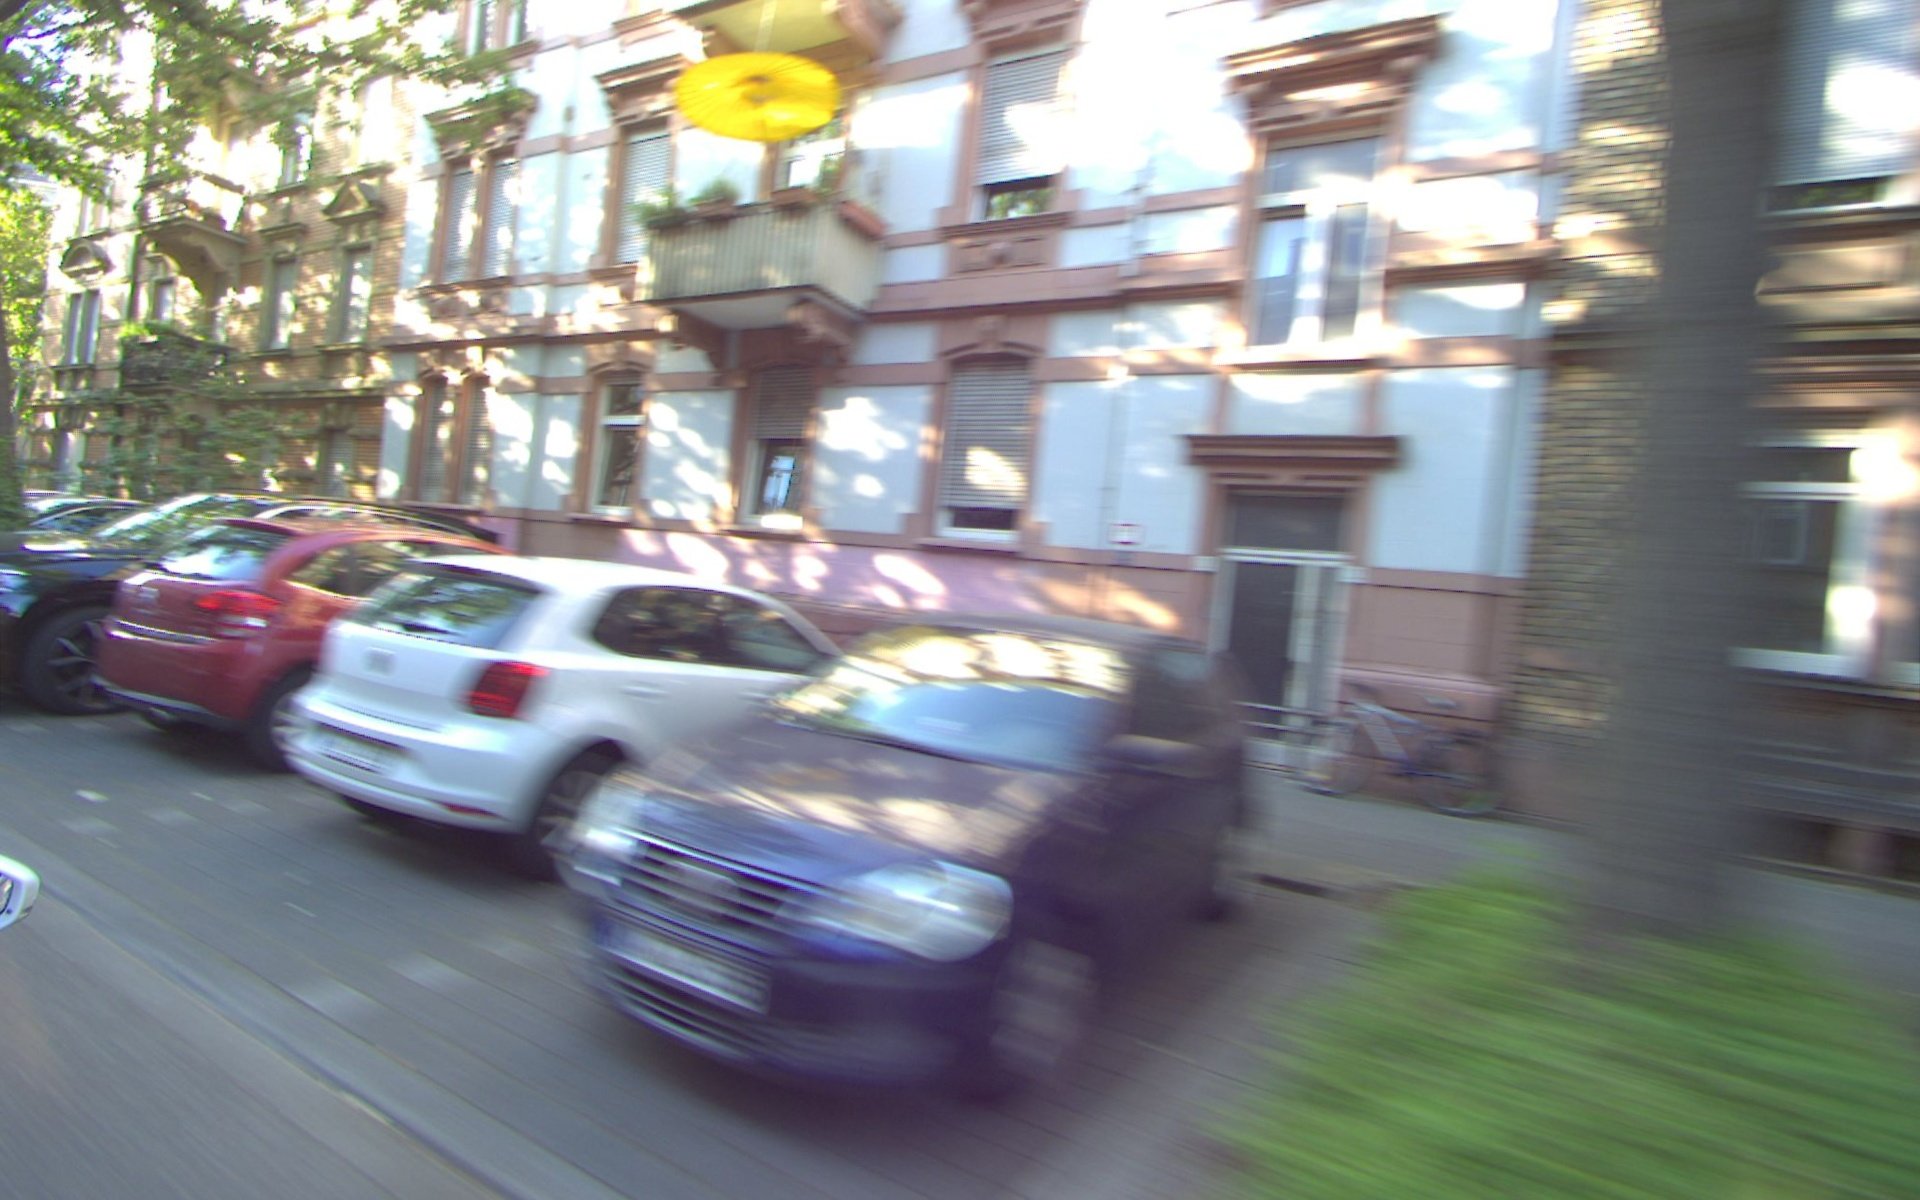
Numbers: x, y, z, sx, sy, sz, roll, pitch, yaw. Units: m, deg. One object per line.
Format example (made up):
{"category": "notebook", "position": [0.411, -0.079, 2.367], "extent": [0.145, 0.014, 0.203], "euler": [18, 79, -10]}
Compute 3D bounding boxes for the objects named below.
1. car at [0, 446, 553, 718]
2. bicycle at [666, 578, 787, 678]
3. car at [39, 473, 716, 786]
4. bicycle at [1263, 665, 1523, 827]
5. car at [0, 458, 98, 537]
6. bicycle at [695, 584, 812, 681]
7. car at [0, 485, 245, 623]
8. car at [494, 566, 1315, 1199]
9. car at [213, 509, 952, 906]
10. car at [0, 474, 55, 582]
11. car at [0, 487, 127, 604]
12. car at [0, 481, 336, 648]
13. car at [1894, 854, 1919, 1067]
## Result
{"category": "car", "position": [-6.032, -0.127, 8.451], "extent": [1.849, 1.724, 4.651], "euler": [7, 1, 27]}
{"category": "bicycle", "position": [-2.986, 0.341, 12.788], "extent": [1.677, 1.064, 0.365], "euler": [7, 1, 35]}
{"category": "car", "position": [-3.940, 0.238, 7.586], "extent": [1.751, 1.609, 3.995], "euler": [7, 0, 28]}
{"category": "bicycle", "position": [3.696, 1.216, 8.695], "extent": [1.914, 1.059, 0.405], "euler": [7, 1, 26]}
{"category": "car", "position": [-37.110, -4.148, 38.307], "extent": [2.337, 2.567, 5.911], "euler": [7, -1, 25]}
{"category": "bicycle", "position": [-2.704, 0.402, 13.071], "extent": [1.677, 1.064, 0.324], "euler": [7, 1, 35]}
{"category": "car", "position": [-11.991, -0.669, 12.519], "extent": [1.897, 1.521, 4.674], "euler": [7, -1, 22]}
{"category": "car", "position": [0.270, 0.727, 4.503], "extent": [1.649, 1.406, 3.989], "euler": [7, 2, 30]}
{"category": "car", "position": [-1.825, 0.522, 6.180], "extent": [1.751, 1.480, 3.995], "euler": [7, 0, 28]}
{"category": "car", "position": [-16.508, -1.335, 15.100], "extent": [1.694, 1.669, 3.894], "euler": [7, 0, 26]}
{"category": "car", "position": [-14.264, -0.930, 13.641], "extent": [1.779, 1.521, 4.115], "euler": [7, -1, 26]}
{"category": "car", "position": [-9.895, -0.434, 11.177], "extent": [1.967, 1.548, 4.558], "euler": [7, -1, 32]}
{"category": "car", "position": [4.185, 1.213, 2.322], "extent": [1.770, 1.554, 4.232], "euler": [7, -1, 28]}
